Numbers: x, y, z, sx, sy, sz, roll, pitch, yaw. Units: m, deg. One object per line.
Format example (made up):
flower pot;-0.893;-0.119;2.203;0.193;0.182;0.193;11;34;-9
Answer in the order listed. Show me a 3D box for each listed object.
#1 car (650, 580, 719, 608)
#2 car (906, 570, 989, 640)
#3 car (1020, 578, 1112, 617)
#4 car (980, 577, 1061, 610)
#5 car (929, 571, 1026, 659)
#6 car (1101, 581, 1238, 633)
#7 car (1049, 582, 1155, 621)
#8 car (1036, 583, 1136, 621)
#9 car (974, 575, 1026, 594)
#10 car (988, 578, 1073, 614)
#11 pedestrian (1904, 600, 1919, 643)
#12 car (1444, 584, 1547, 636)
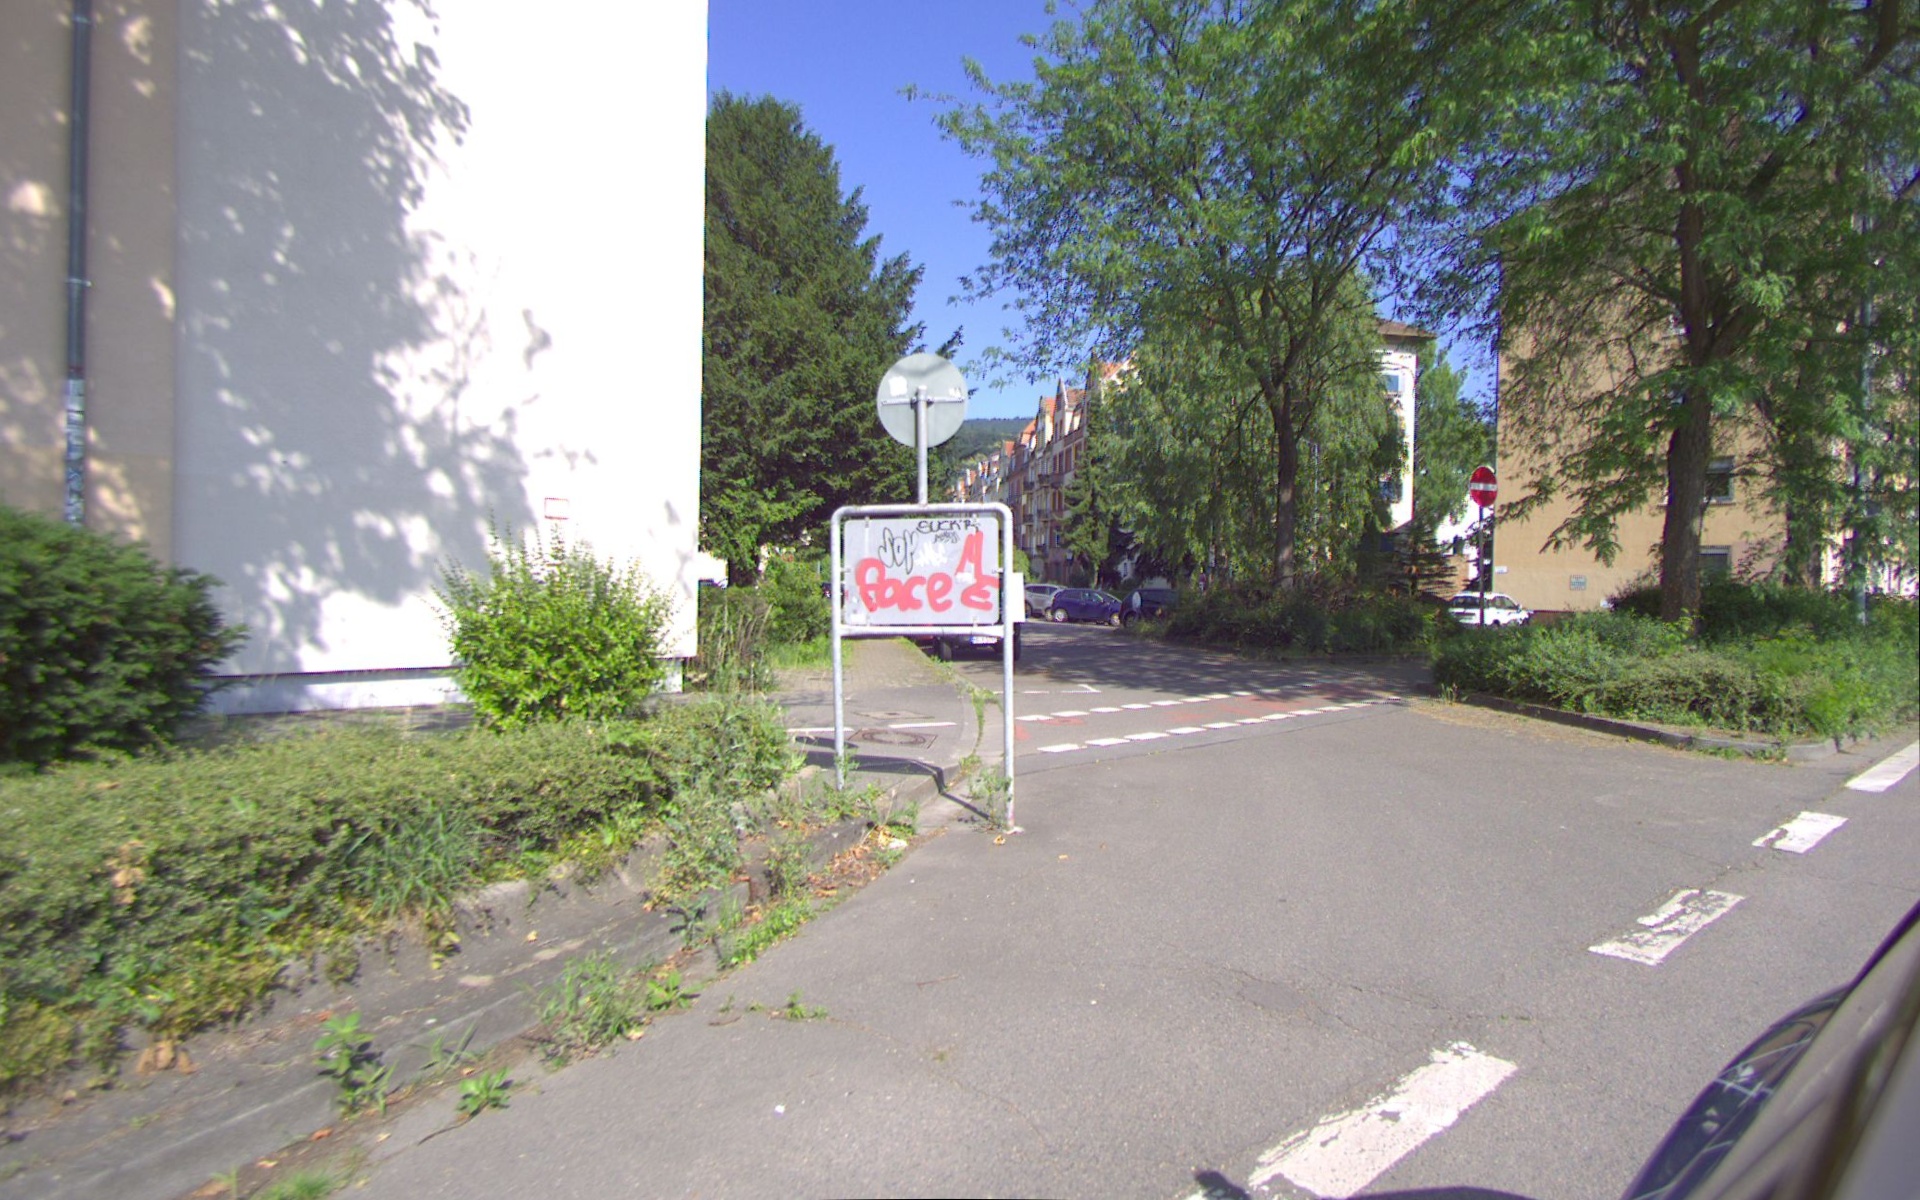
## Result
car;-13.903;-0.338;51.010;3.403;1.341;1.737;1;1;40
car;-0.400;0.089;26.452;1.628;1.694;3.855;1;1;-9
car;5.036;-0.136;48.297;3.968;1.749;1.848;1;1;32
car;3.292;-0.374;55.173;3.963;1.660;1.890;1;1;28
car;0.282;0.250;21.199;1.653;1.675;3.593;0;1;-5
car;6.411;0.172;31.129;3.750;1.460;1.758;1;1;37
car;5.920;0.034;42.114;3.965;1.532;1.915;1;1;29
car;5.594;0.057;44.951;3.965;1.552;1.915;1;1;29
car;3.109;-1.226;79.301;3.924;1.444;1.910;1;1;0
car;3.600;-0.220;51.936;3.968;1.749;1.848;1;1;32
pedestrian;36.188;0.810;38.220;0.809;1.629;0.657;0;1;-39
car;18.350;0.324;34.643;3.714;1.661;1.661;0;1;-37
